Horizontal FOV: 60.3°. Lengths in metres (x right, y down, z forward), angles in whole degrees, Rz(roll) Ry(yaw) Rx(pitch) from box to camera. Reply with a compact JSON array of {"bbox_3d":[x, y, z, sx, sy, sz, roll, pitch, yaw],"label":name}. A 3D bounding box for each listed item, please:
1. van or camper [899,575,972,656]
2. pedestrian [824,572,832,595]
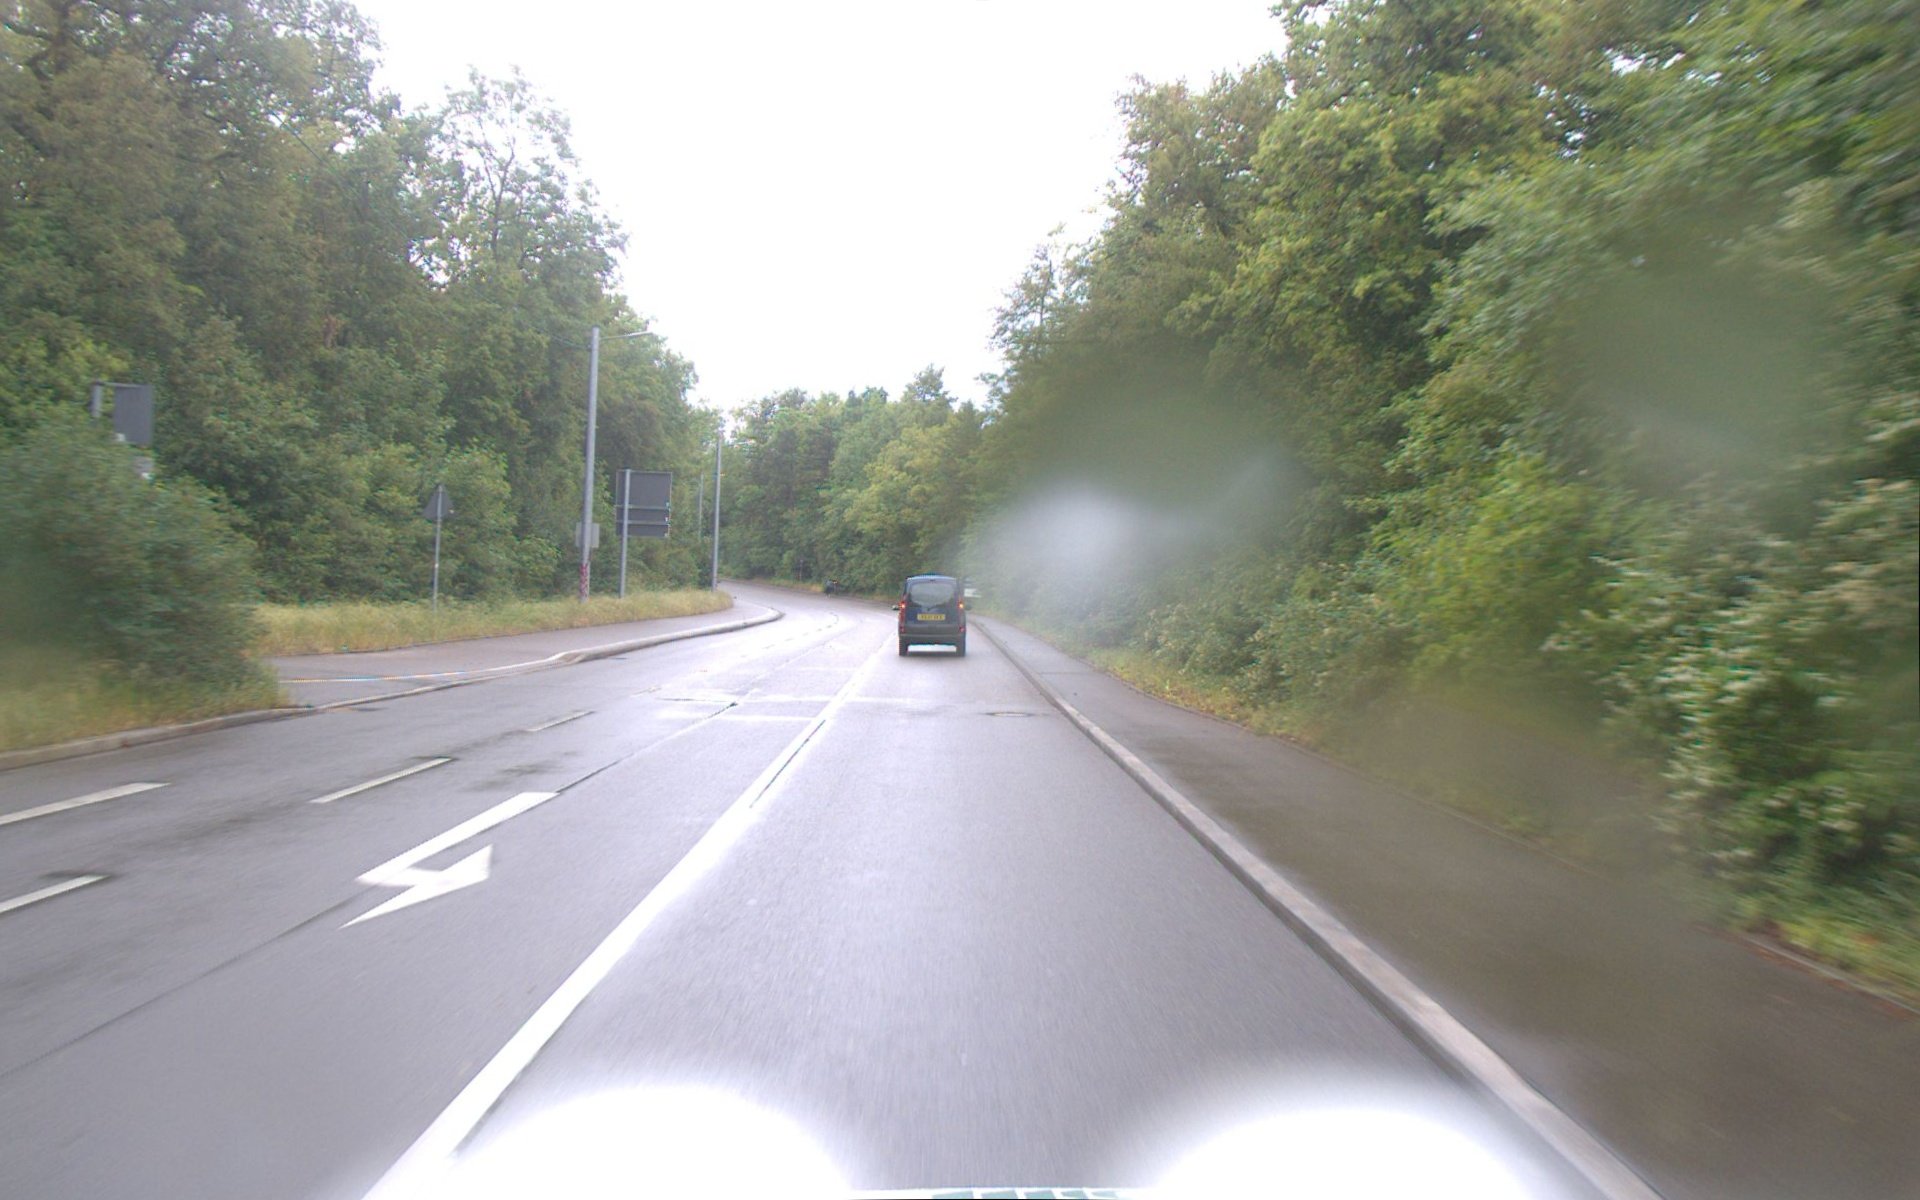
[{"bbox_3d":[-0.623,0.356,40.246,1.678,1.858,3.999,0,0,-1],"label":"van or camper"},{"bbox_3d":[-11.045,-1.387,138.333,0.482,1.903,0.677,1,0,-14],"label":"pedestrian"}]
